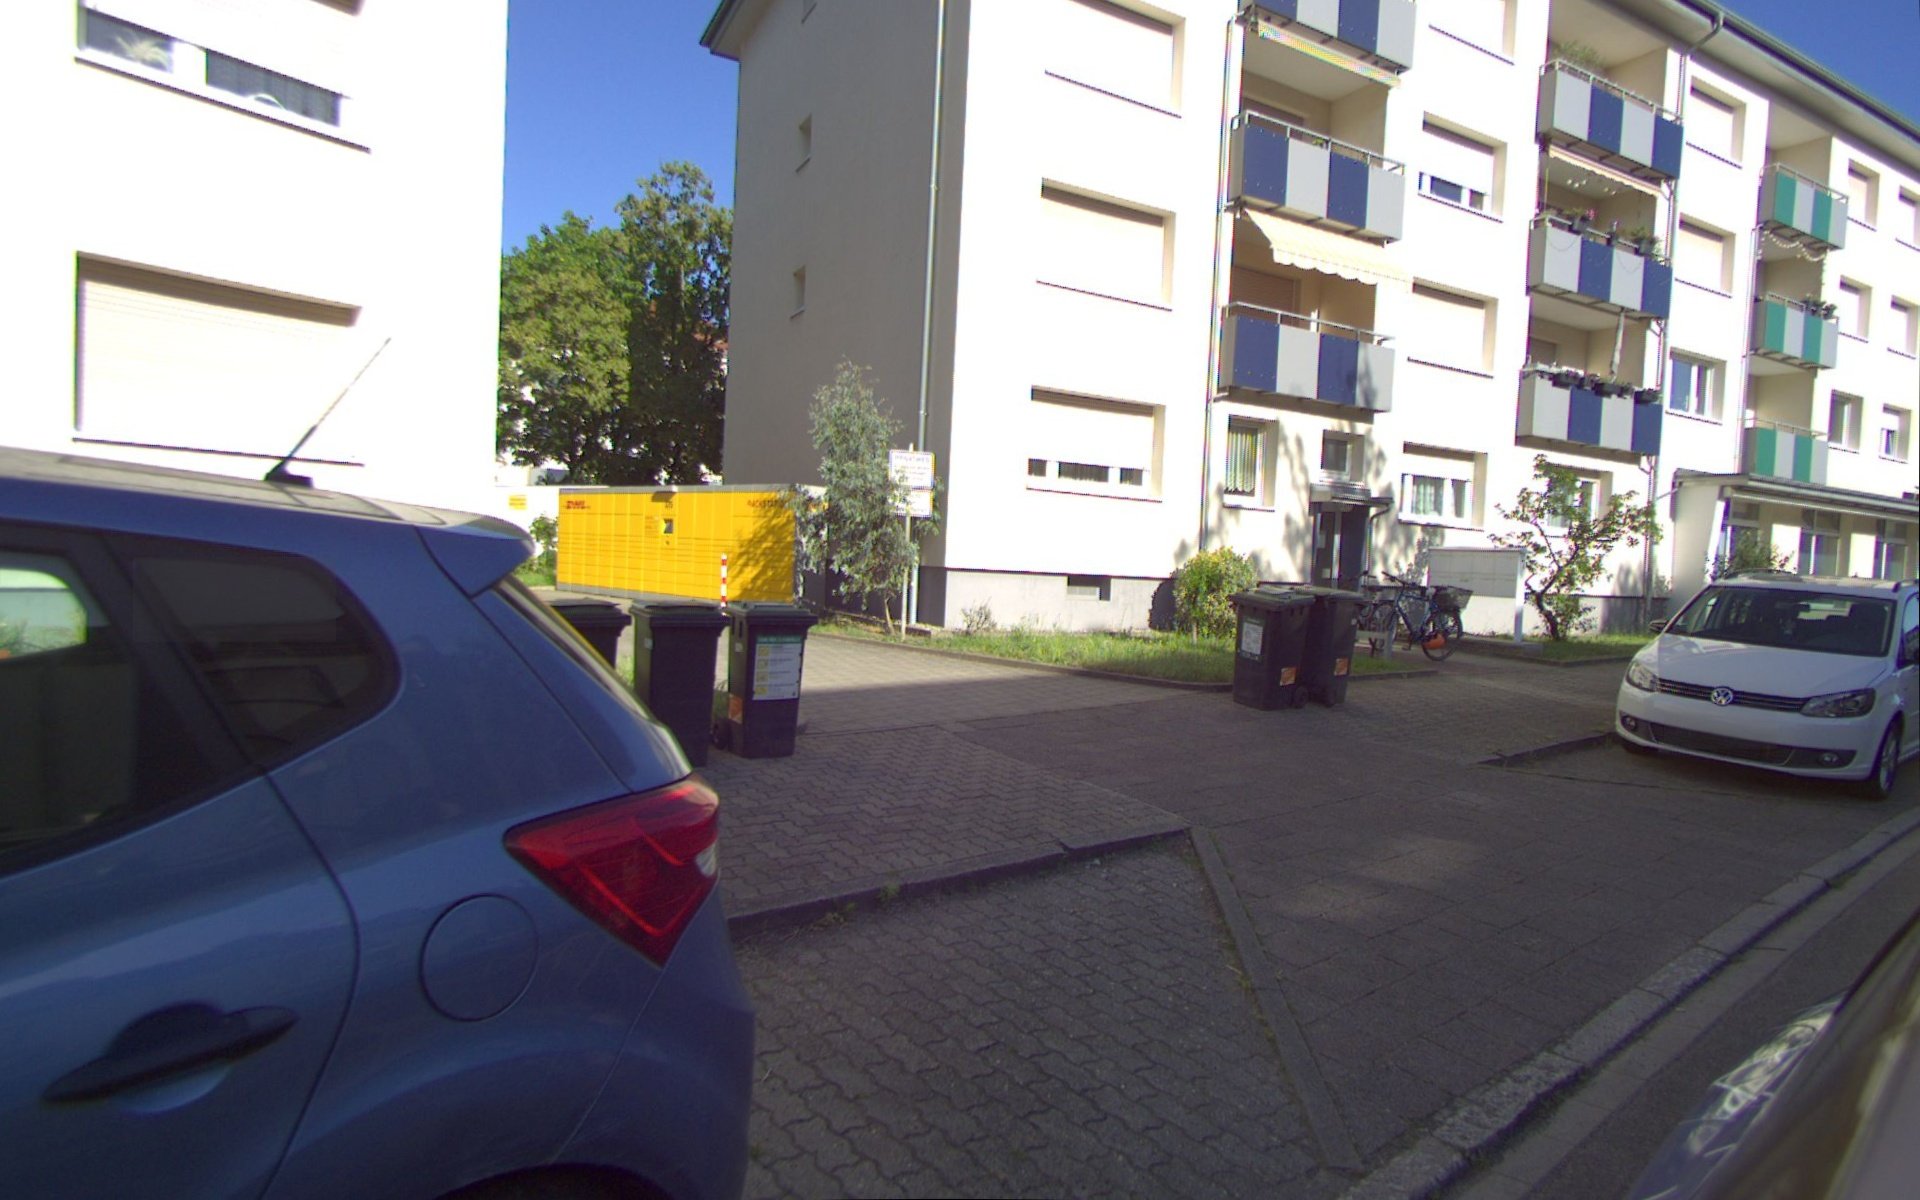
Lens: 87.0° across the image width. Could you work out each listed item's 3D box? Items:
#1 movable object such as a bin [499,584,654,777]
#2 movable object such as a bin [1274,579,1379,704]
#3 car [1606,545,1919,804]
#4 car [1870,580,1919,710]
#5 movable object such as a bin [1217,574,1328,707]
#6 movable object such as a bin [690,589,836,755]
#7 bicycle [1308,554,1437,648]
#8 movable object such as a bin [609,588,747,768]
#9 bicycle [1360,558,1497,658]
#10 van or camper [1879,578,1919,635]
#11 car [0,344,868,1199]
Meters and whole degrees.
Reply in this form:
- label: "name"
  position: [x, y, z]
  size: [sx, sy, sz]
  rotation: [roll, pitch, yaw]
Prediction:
- label: "movable object such as a bin"
  position: [-2.066, 0.400, 5.445]
  size: [0.575, 0.910, 0.585]
  rotation: [0, 6, -43]
- label: "movable object such as a bin"
  position: [3.452, 0.367, 9.551]
  size: [0.628, 1.068, 0.587]
  rotation: [-1, 7, -32]
- label: "car"
  position: [7.552, 0.451, 8.861]
  size: [4.309, 1.675, 1.700]
  rotation: [-1, 6, -37]
- label: "car"
  position: [13.049, 0.560, 12.677]
  size: [4.604, 1.448, 1.699]
  rotation: [0, 5, -40]
- label: "movable object such as a bin"
  position: [2.835, 0.353, 9.206]
  size: [0.669, 1.108, 0.586]
  rotation: [1, 5, -32]
- label: "movable object such as a bin"
  position: [-1.214, 0.413, 6.231]
  size: [0.630, 0.898, 0.585]
  rotation: [0, 6, -43]
- label: "bicycle"
  position: [5.800, 0.019, 14.203]
  size: [1.795, 1.217, 0.517]
  rotation: [2, 5, -26]
- label: "movable object such as a bin"
  position: [-1.615, 0.412, 5.775]
  size: [0.509, 0.909, 0.585]
  rotation: [0, 6, -43]
- label: "bicycle"
  position: [6.223, 0.114, 13.422]
  size: [1.724, 1.217, 0.518]
  rotation: [2, 4, -23]
- label: "van or camper"
  position: [36.981, 0.440, 36.543]
  size: [1.959, 2.038, 5.152]
  rotation: [4, 2, -27]
- label: "car"
  position: [-2.226, 0.523, 0.968]
  size: [3.974, 1.654, 1.769]
  rotation: [-1, 6, -43]
